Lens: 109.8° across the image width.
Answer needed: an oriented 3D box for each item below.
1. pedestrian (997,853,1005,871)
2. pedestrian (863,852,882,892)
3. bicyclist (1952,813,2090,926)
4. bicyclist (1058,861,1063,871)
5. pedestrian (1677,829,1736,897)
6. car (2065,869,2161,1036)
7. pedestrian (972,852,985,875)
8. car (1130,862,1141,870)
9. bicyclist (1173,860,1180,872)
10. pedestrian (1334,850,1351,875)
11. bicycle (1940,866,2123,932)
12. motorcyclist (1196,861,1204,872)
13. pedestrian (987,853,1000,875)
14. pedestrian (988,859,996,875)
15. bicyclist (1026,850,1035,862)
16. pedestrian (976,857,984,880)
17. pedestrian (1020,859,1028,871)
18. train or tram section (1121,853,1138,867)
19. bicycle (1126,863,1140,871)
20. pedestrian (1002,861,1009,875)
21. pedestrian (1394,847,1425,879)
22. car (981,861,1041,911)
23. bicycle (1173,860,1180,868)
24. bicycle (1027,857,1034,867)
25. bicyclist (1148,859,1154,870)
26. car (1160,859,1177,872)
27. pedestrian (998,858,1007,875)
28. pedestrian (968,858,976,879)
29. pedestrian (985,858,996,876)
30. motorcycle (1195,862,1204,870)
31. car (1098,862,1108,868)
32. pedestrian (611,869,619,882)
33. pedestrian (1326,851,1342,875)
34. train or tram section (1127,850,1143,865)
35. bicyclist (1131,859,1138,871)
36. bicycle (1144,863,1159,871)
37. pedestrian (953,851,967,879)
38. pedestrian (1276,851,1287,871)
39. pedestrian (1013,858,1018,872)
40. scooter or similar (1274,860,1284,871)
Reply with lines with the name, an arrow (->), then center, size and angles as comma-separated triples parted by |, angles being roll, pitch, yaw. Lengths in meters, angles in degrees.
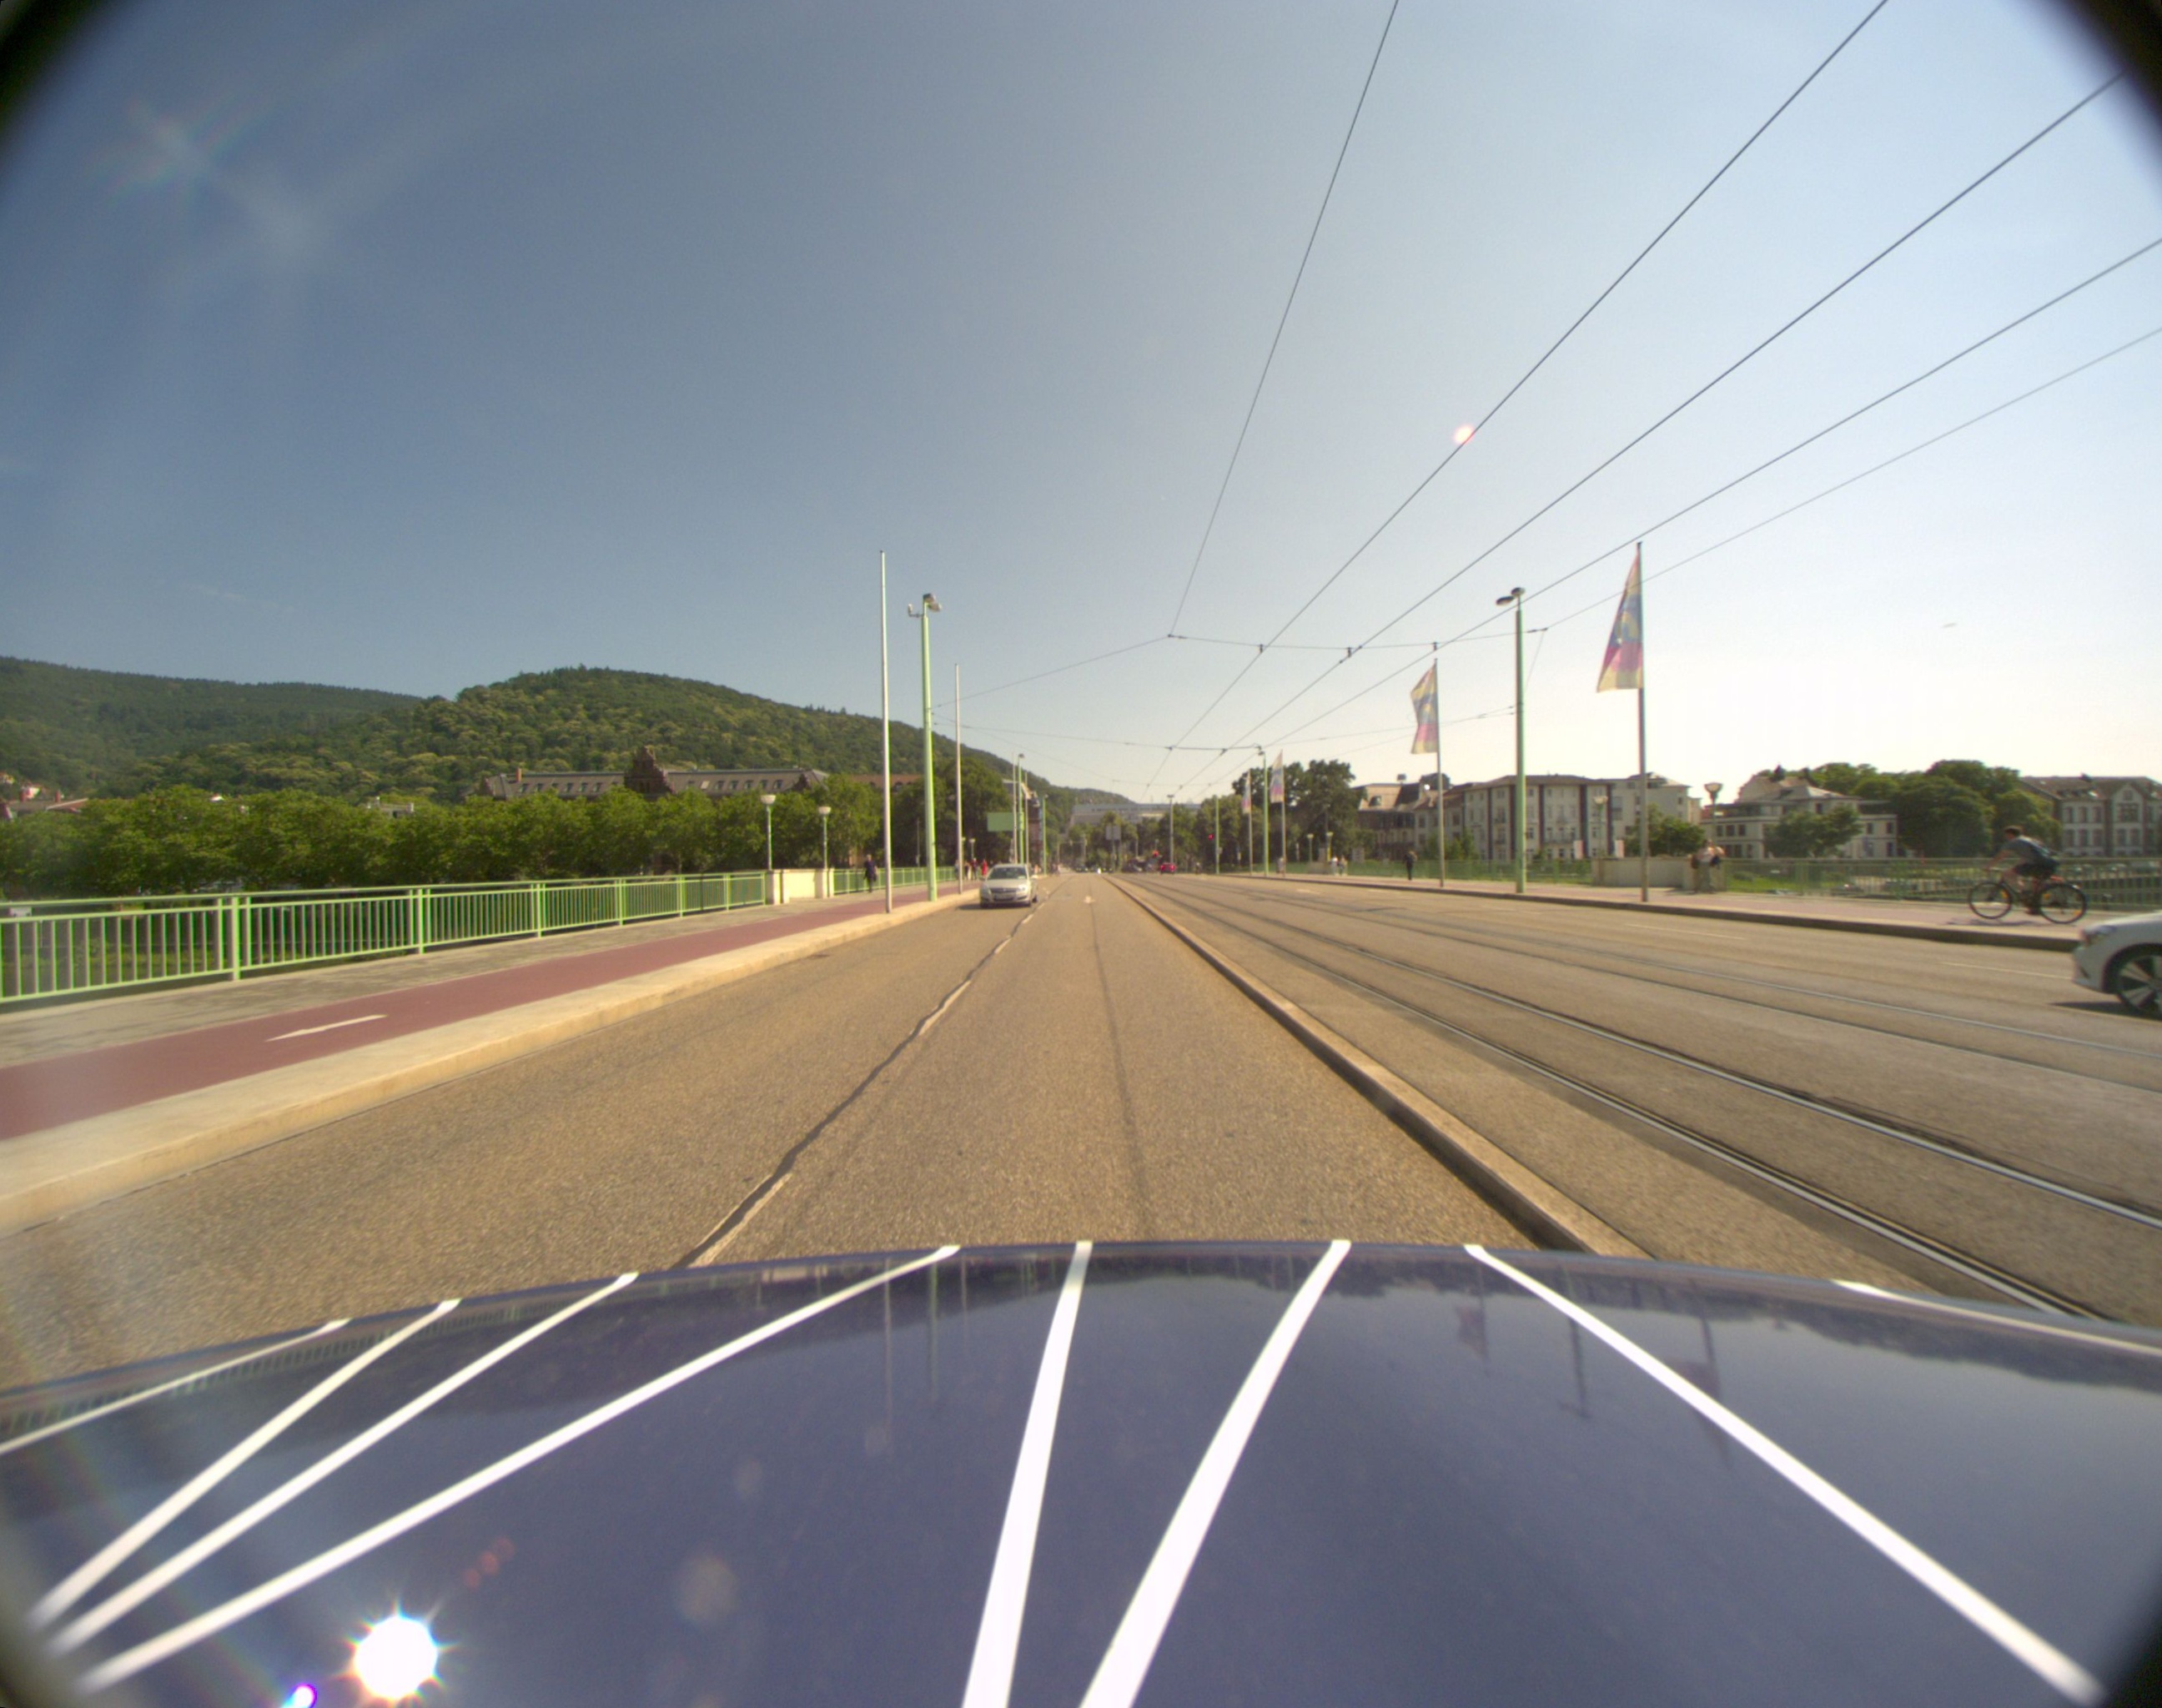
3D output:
pedestrian -> -7.646, 0.756, 72.616 | 0.656, 1.640, 0.868 | -1, 1, -5
pedestrian -> -9.265, 0.806, 33.800 | 0.656, 1.733, 0.978 | -1, -1, -5
bicyclist -> 17.033, 0.275, 13.812 | 1.100, 1.950, 1.129 | -1, 0, -2
bicyclist -> -4.013, 2.377, 146.992 | 0.944, 2.001, 0.830 | 0, 0, -5
pedestrian -> 19.140, 0.275, 23.279 | 0.901, 2.002, 1.042 | -1, 0, -2
car -> 10.157, 0.844, 4.811 | 1.998, 1.401, 4.547 | 0, 0, 1
pedestrian -> -8.776, 0.786, 64.927 | 0.988, 1.884, 1.253 | -1, 0, -5
car -> 9.726, 2.162, 135.682 | 1.752, 1.477, 4.748 | 1, -1, 0
bicyclist -> 13.490, 1.703, 107.290 | 0.879, 1.599, 0.772 | 0, -1, 3
pedestrian -> 19.858, 0.664, 57.723 | 0.740, 1.838, 1.121 | -4, 0, -2
bicycle -> 17.031, 0.767, 13.716 | 0.590, 1.090, 2.112 | -1, 0, -2
motorcyclist -> 15.586, 1.654, 99.859 | 0.847, 1.393, 0.898 | -2, 0, -2
pedestrian -> -7.970, 0.895, 69.224 | 1.018, 1.942, 0.939 | -1, 1, -2
pedestrian -> -9.274, 1.362, 79.276 | 0.651, 1.622, 0.692 | -2, 0, 1
bicyclist -> -5.577, 0.229, 84.750 | 0.912, 1.385, 1.233 | 0, 0, 0
pedestrian -> -8.062, 1.176, 60.685 | 0.587, 1.783, 0.632 | -1, 1, -5
pedestrian -> -7.541, 1.478, 100.704 | 0.988, 1.606, 0.921 | -1, 1, -5
train or tram section -> 11.939, 1.478, 188.465 | 2.768, 3.383, 12.408 | 0, -1, -4
bicycle -> 7.539, 1.940, 109.335 | 1.917, 1.107, 0.762 | -1, 0, 13
pedestrian -> -8.409, 1.536, 84.838 | 0.651, 1.553, 0.692 | 0, -1, 1
pedestrian -> 18.360, 0.481, 42.448 | 1.100, 1.748, 1.295 | -1, 0, -2
car -> -2.396, 1.061, 26.890 | 1.802, 1.492, 4.496 | -2, 0, -2
bicycle -> 13.467, 1.444, 107.311 | 0.760, 1.107, 1.921 | -3, -2, 2
bicycle -> -5.647, 0.856, 84.702 | 0.643, 1.076, 2.497 | 0, -1, 1
bicyclist -> 9.896, 1.452, 107.335 | 0.770, 1.599, 0.881 | -1, 1, 15
car -> 11.369, 1.487, 99.235 | 1.998, 1.506, 4.190 | -2, 0, 3
pedestrian -> -7.810, 1.212, 75.299 | 0.836, 1.667, 0.885 | -1, 1, -6
pedestrian -> -8.649, 1.131, 60.452 | 0.524, 1.640, 0.699 | -1, 1, -4
pedestrian -> -8.664, 1.231, 72.472 | 0.988, 1.759, 1.254 | 0, 0, -5
motorcycle -> 15.587, 1.523, 99.975 | 0.847, 1.019, 1.951 | -2, 0, -1
car -> 4.919, 2.401, 170.772 | 1.638, 1.300, 3.913 | 0, -1, -5
pedestrian -> -64.848, 3.042, 105.695 | 0.742, 1.764, 0.677 | -2, -1, -5
pedestrian -> 19.244, 0.708, 57.725 | 0.740, 1.774, 0.957 | -4, 0, -2
train or tram section -> 12.688, 0.808, 179.363 | 2.768, 3.383, 5.884 | 0, -1, -5
bicyclist -> 7.702, 1.559, 109.274 | 0.878, 1.599, 0.773 | -1, 1, 16
bicycle -> 9.921, 1.793, 107.329 | 1.916, 1.107, 0.762 | -1, 0, 17
pedestrian -> -8.808, 0.778, 55.357 | 0.876, 2.002, 1.058 | -1, 1, -5
pedestrian -> 19.458, 0.656, 73.745 | 0.740, 1.842, 0.975 | -4, 0, -2
pedestrian -> -8.685, 1.471, 100.849 | 0.550, 1.788, 0.645 | -1, 1, -5
scooter or similar -> 19.458, 1.081, 74.656 | 0.740, 1.023, 0.832 | -4, 0, -2
